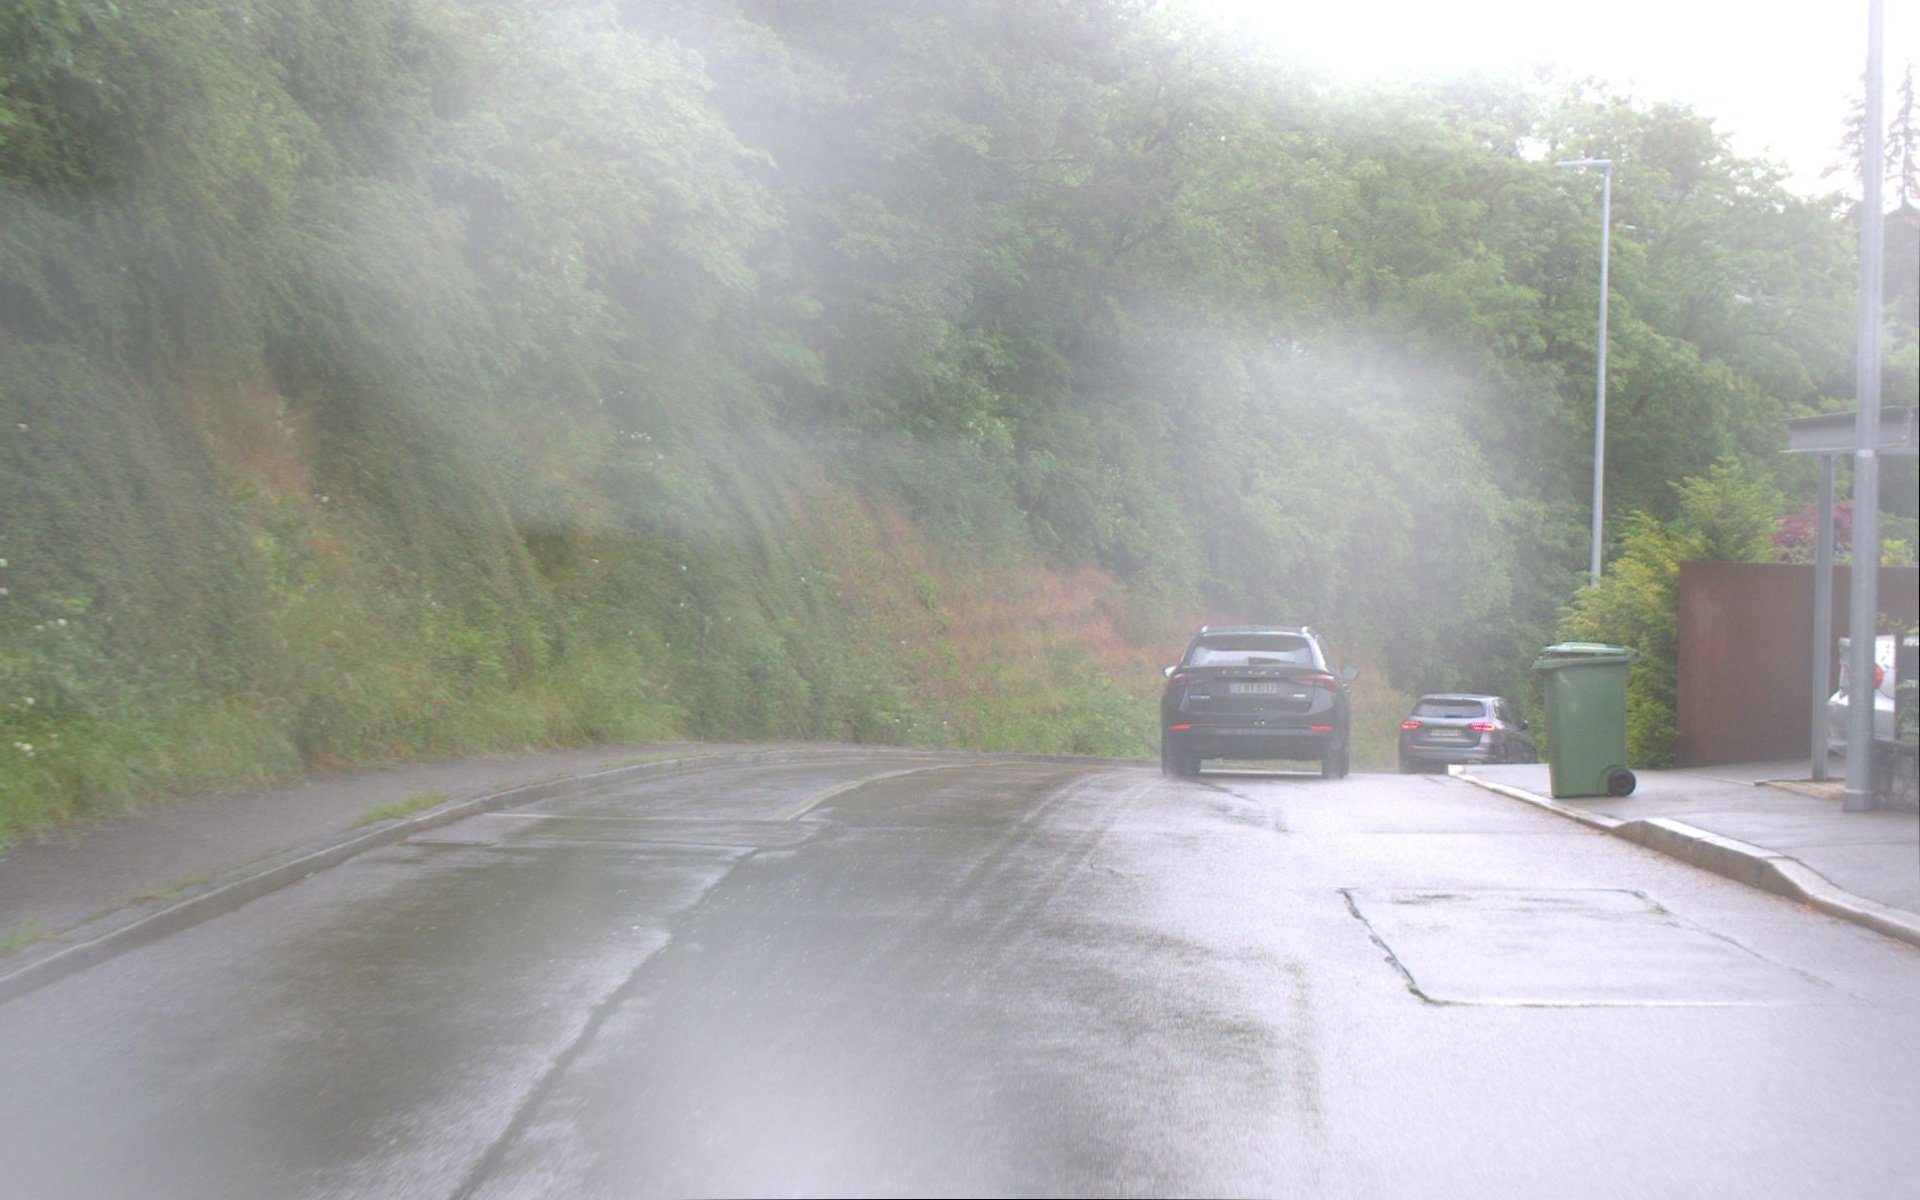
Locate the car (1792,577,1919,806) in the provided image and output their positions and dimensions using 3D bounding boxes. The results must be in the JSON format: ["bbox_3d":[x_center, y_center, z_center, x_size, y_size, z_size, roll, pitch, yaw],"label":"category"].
[{"bbox_3d":[7.574,0.650,22.175,4.219,1.410,1.940,2,-1,13],"label":"car"}]

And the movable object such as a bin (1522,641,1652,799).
[{"bbox_3d":[4.531,0.863,24.888,0.789,1.092,0.675,-3,-1,3],"label":"movable object such as a bin"}]

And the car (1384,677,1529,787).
[{"bbox_3d":[8.717,2.269,60.097,1.995,1.600,4.406,2,2,15],"label":"car"}]

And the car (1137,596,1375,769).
[{"bbox_3d":[2.841,0.839,33.783,1.868,1.507,4.092,3,-2,-1],"label":"car"}]
